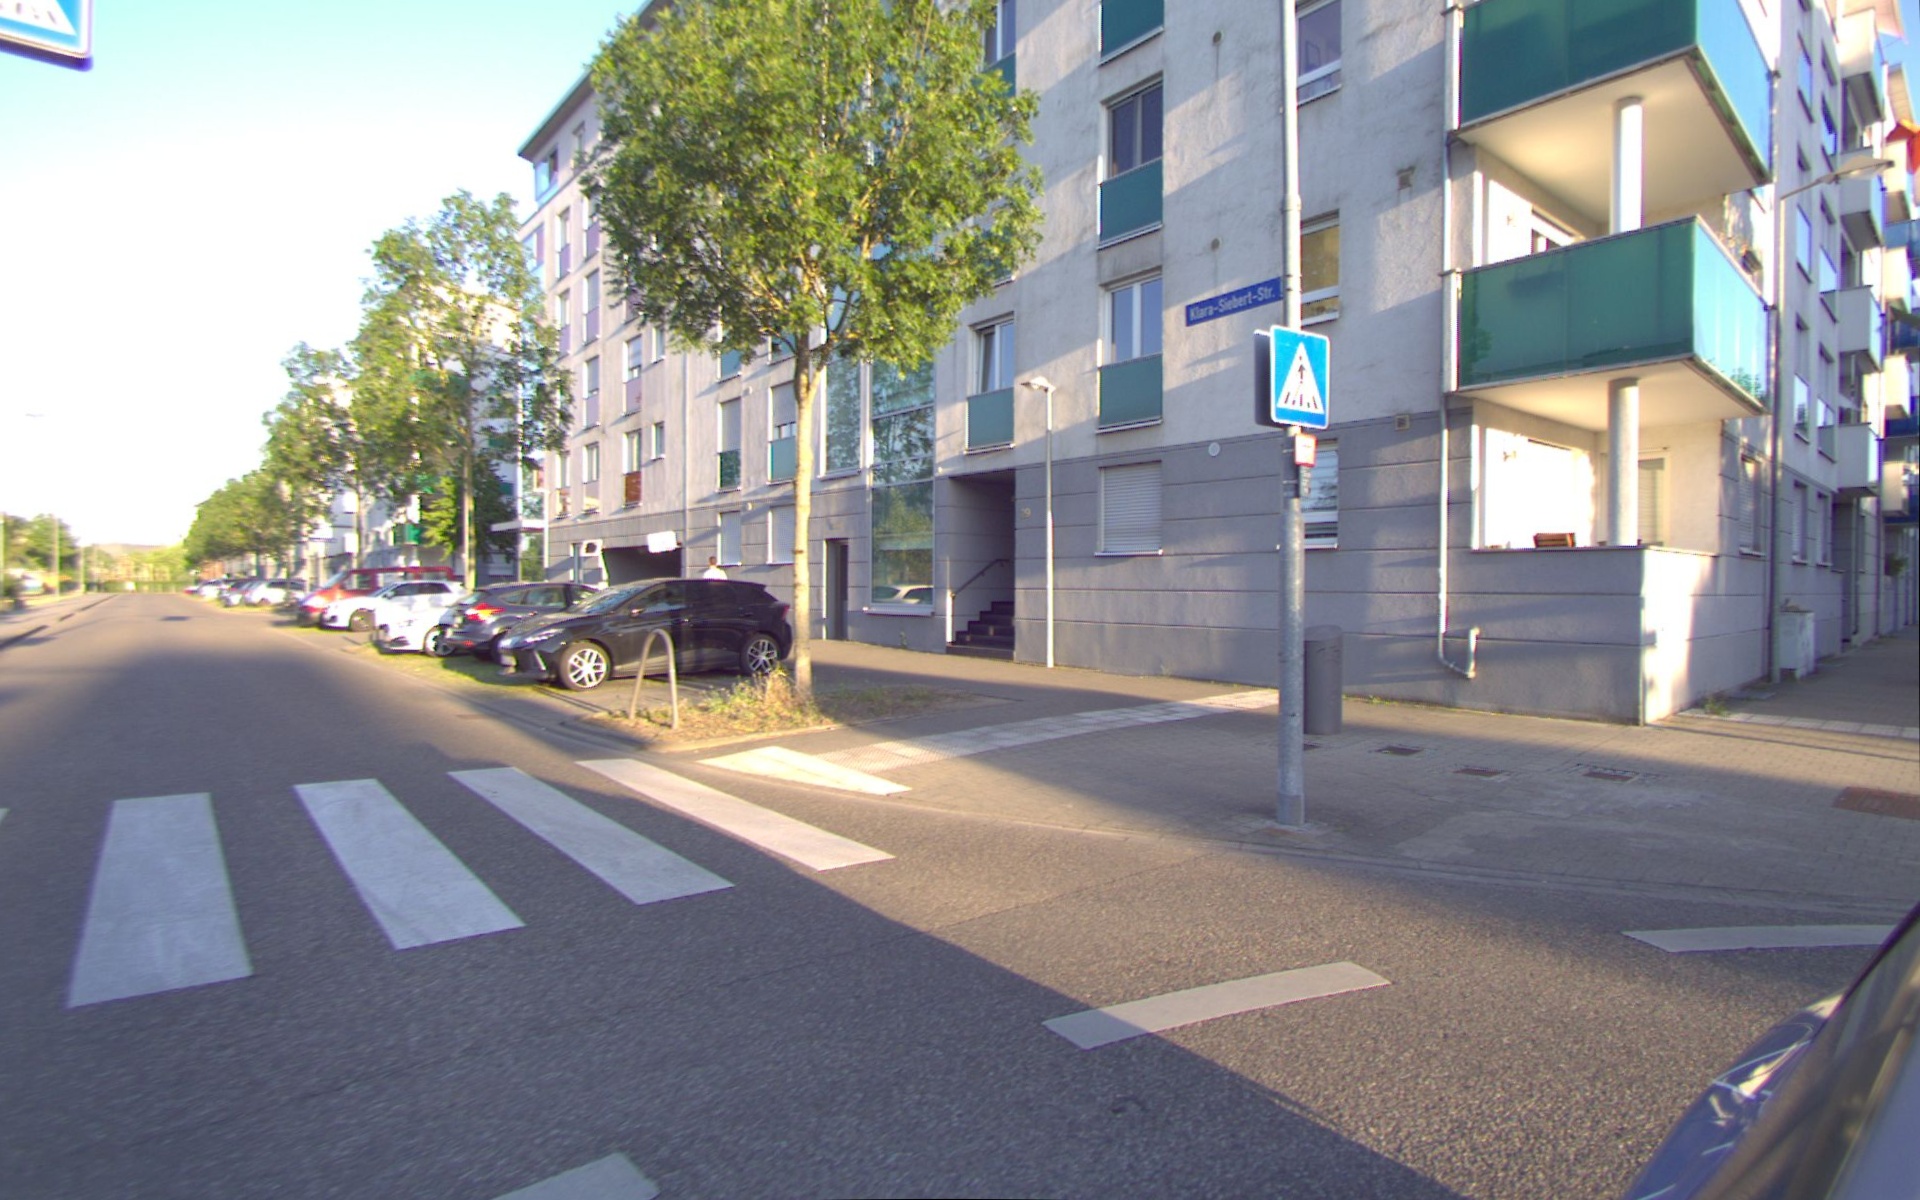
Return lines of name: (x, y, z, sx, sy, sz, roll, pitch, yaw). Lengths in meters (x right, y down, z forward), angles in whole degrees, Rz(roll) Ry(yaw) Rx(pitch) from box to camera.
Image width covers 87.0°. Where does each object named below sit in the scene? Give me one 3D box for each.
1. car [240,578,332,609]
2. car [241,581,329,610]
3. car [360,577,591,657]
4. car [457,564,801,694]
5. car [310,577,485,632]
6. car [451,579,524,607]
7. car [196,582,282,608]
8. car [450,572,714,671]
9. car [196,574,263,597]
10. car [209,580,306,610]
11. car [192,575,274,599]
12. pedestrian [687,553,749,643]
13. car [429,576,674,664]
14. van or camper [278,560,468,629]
car: (-36.360, -0.355, 54.655, 3.890, 1.613, 1.774, 0, 1, -44)
car: (-37.758, -0.256, 56.654, 3.890, 1.613, 1.774, 0, 1, -44)
car: (-9.909, 0.299, 20.853, 3.987, 1.498, 1.698, 0, 1, -42)
car: (-4.710, 0.293, 14.825, 4.406, 1.505, 1.830, -4, 3, -42)
car: (-16.952, 0.104, 30.646, 4.390, 1.540, 1.698, 0, 1, -42)
car: (-25.935, -0.384, 55.574, 3.479, 1.486, 1.604, 1, 0, 18)
car: (-46.786, -0.323, 65.710, 4.339, 1.613, 1.947, 0, 1, -43)
car: (-6.418, 0.279, 17.445, 3.939, 1.390, 1.557, -4, 3, -42)
car: (-62.116, -1.232, 86.080, 4.341, 1.862, 1.946, 0, 1, -45)
car: (-40.321, -0.292, 58.163, 4.340, 1.613, 1.947, 0, 1, -44)
car: (-49.989, -0.900, 69.628, 4.339, 1.613, 1.947, 0, 1, -43)
pedestrian: (-5.322, -0.059, 22.272, 0.962, 1.918, 1.048, 0, 0, -40)
car: (-7.667, 0.334, 19.218, 3.987, 1.498, 1.698, 0, 1, -42)
van or camper: (-18.937, -0.182, 32.813, 5.045, 2.086, 1.874, 0, 1, -43)
